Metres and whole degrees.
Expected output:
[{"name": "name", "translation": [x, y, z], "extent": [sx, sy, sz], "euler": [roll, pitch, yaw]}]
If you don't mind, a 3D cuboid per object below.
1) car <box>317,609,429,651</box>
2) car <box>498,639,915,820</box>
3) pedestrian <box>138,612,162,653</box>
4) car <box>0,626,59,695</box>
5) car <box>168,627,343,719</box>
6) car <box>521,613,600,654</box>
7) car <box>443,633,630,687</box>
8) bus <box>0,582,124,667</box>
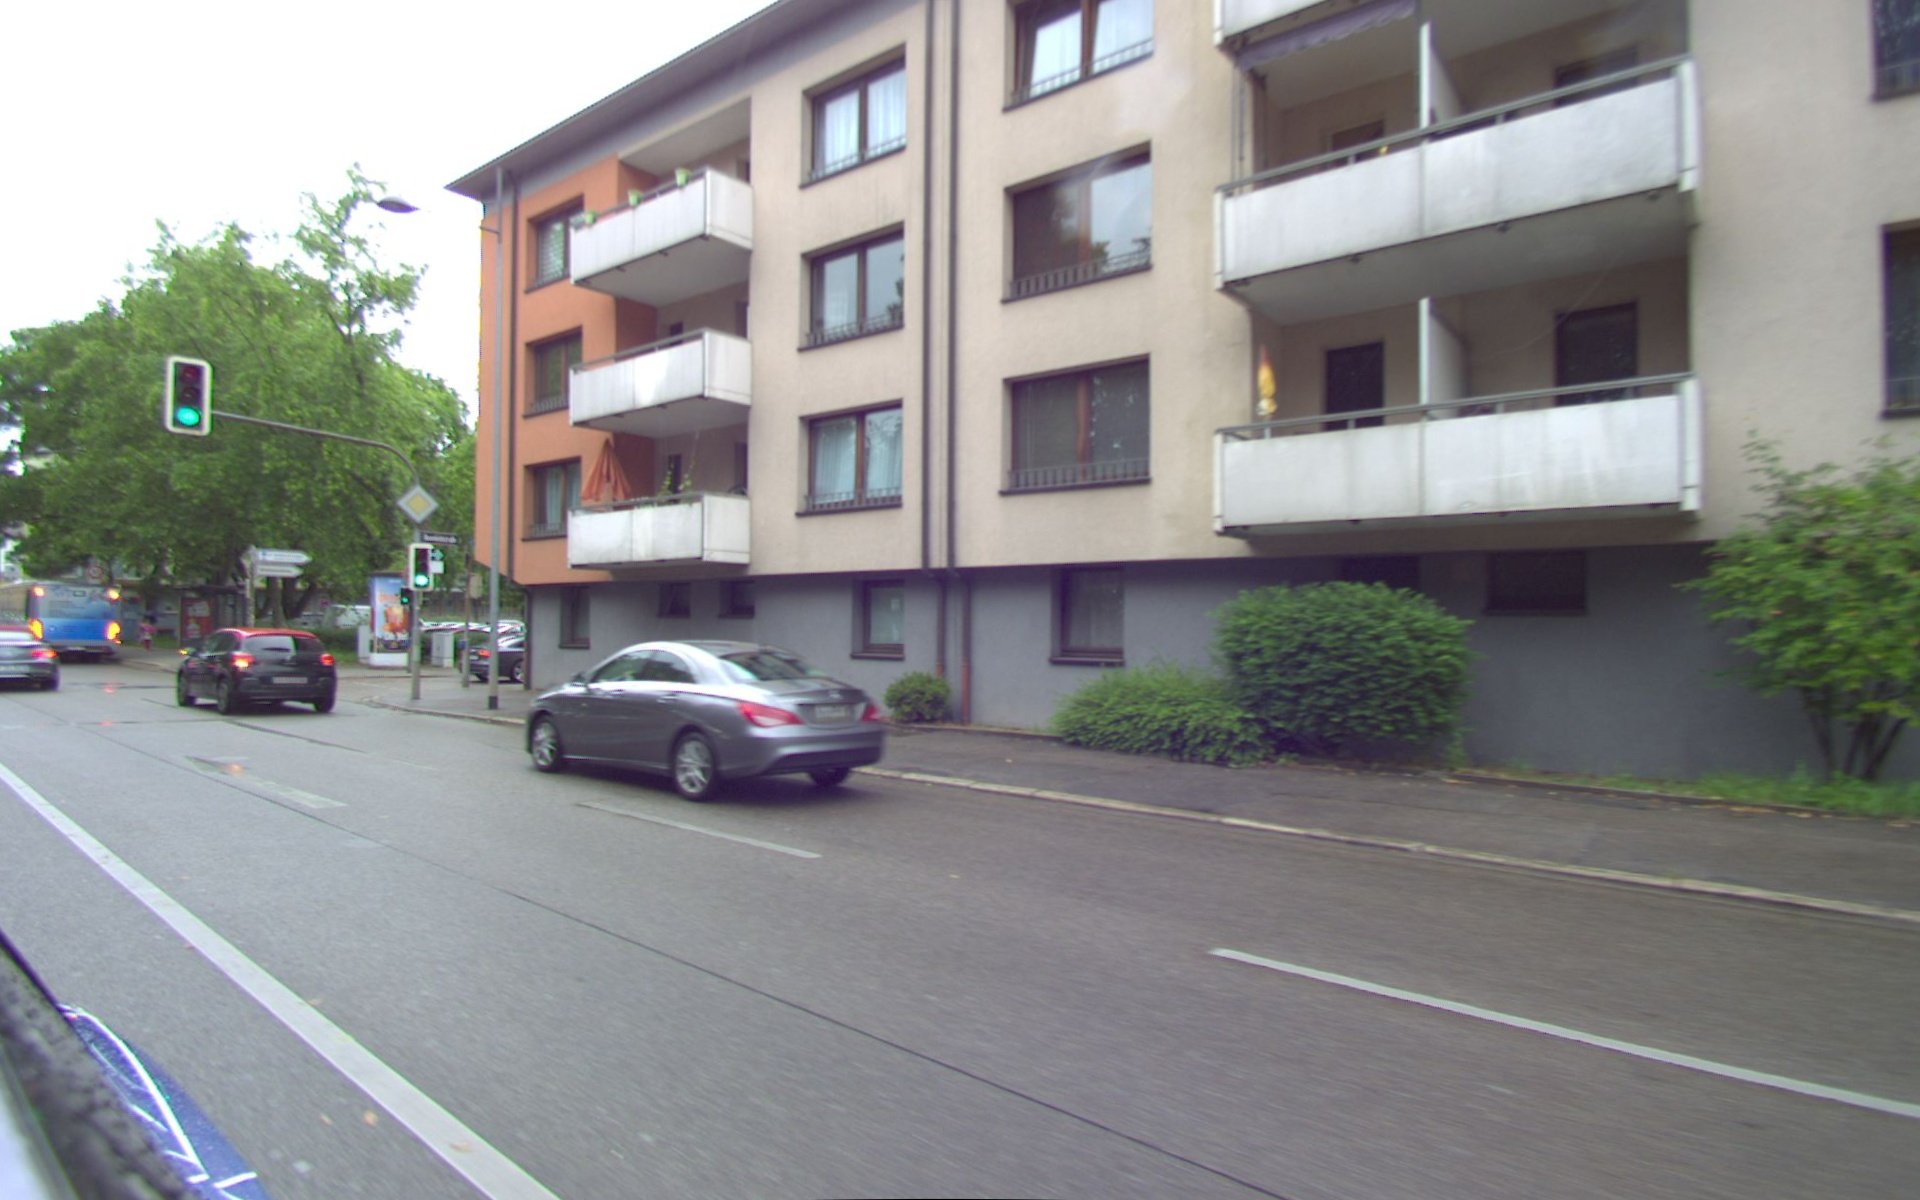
[{"name": "car", "translation": [-28.140, 1.452, 48.625], "extent": [1.701, 1.937, 4.280], "euler": [-1, -3, 38]}, {"name": "car", "translation": [-2.754, 1.124, 10.281], "extent": [4.681, 1.426, 1.794], "euler": [-2, -4, 42]}, {"name": "pedestrian", "translation": [-36.381, 1.448, 45.440], "extent": [0.687, 1.782, 0.702], "euler": [-1, 1, 41]}, {"name": "car", "translation": [-21.505, 1.304, 22.388], "extent": [4.332, 1.426, 1.775], "euler": [-2, -4, 41]}, {"name": "car", "translation": [-12.956, 1.283, 18.532], "extent": [3.887, 1.503, 1.669], "euler": [-2, -4, 41]}, {"name": "car", "translation": [-26.798, 2.256, 67.956], "extent": [1.999, 2.633, 4.521], "euler": [-2, -3, 42]}, {"name": "car", "translation": [-12.360, 1.776, 29.792], "extent": [1.819, 1.426, 4.739], "euler": [-1, -4, 43]}, {"name": "bus", "translation": [-36.004, 0.941, 39.911], "extent": [12.078, 2.962, 2.665], "euler": [-1, -3, 41]}]
